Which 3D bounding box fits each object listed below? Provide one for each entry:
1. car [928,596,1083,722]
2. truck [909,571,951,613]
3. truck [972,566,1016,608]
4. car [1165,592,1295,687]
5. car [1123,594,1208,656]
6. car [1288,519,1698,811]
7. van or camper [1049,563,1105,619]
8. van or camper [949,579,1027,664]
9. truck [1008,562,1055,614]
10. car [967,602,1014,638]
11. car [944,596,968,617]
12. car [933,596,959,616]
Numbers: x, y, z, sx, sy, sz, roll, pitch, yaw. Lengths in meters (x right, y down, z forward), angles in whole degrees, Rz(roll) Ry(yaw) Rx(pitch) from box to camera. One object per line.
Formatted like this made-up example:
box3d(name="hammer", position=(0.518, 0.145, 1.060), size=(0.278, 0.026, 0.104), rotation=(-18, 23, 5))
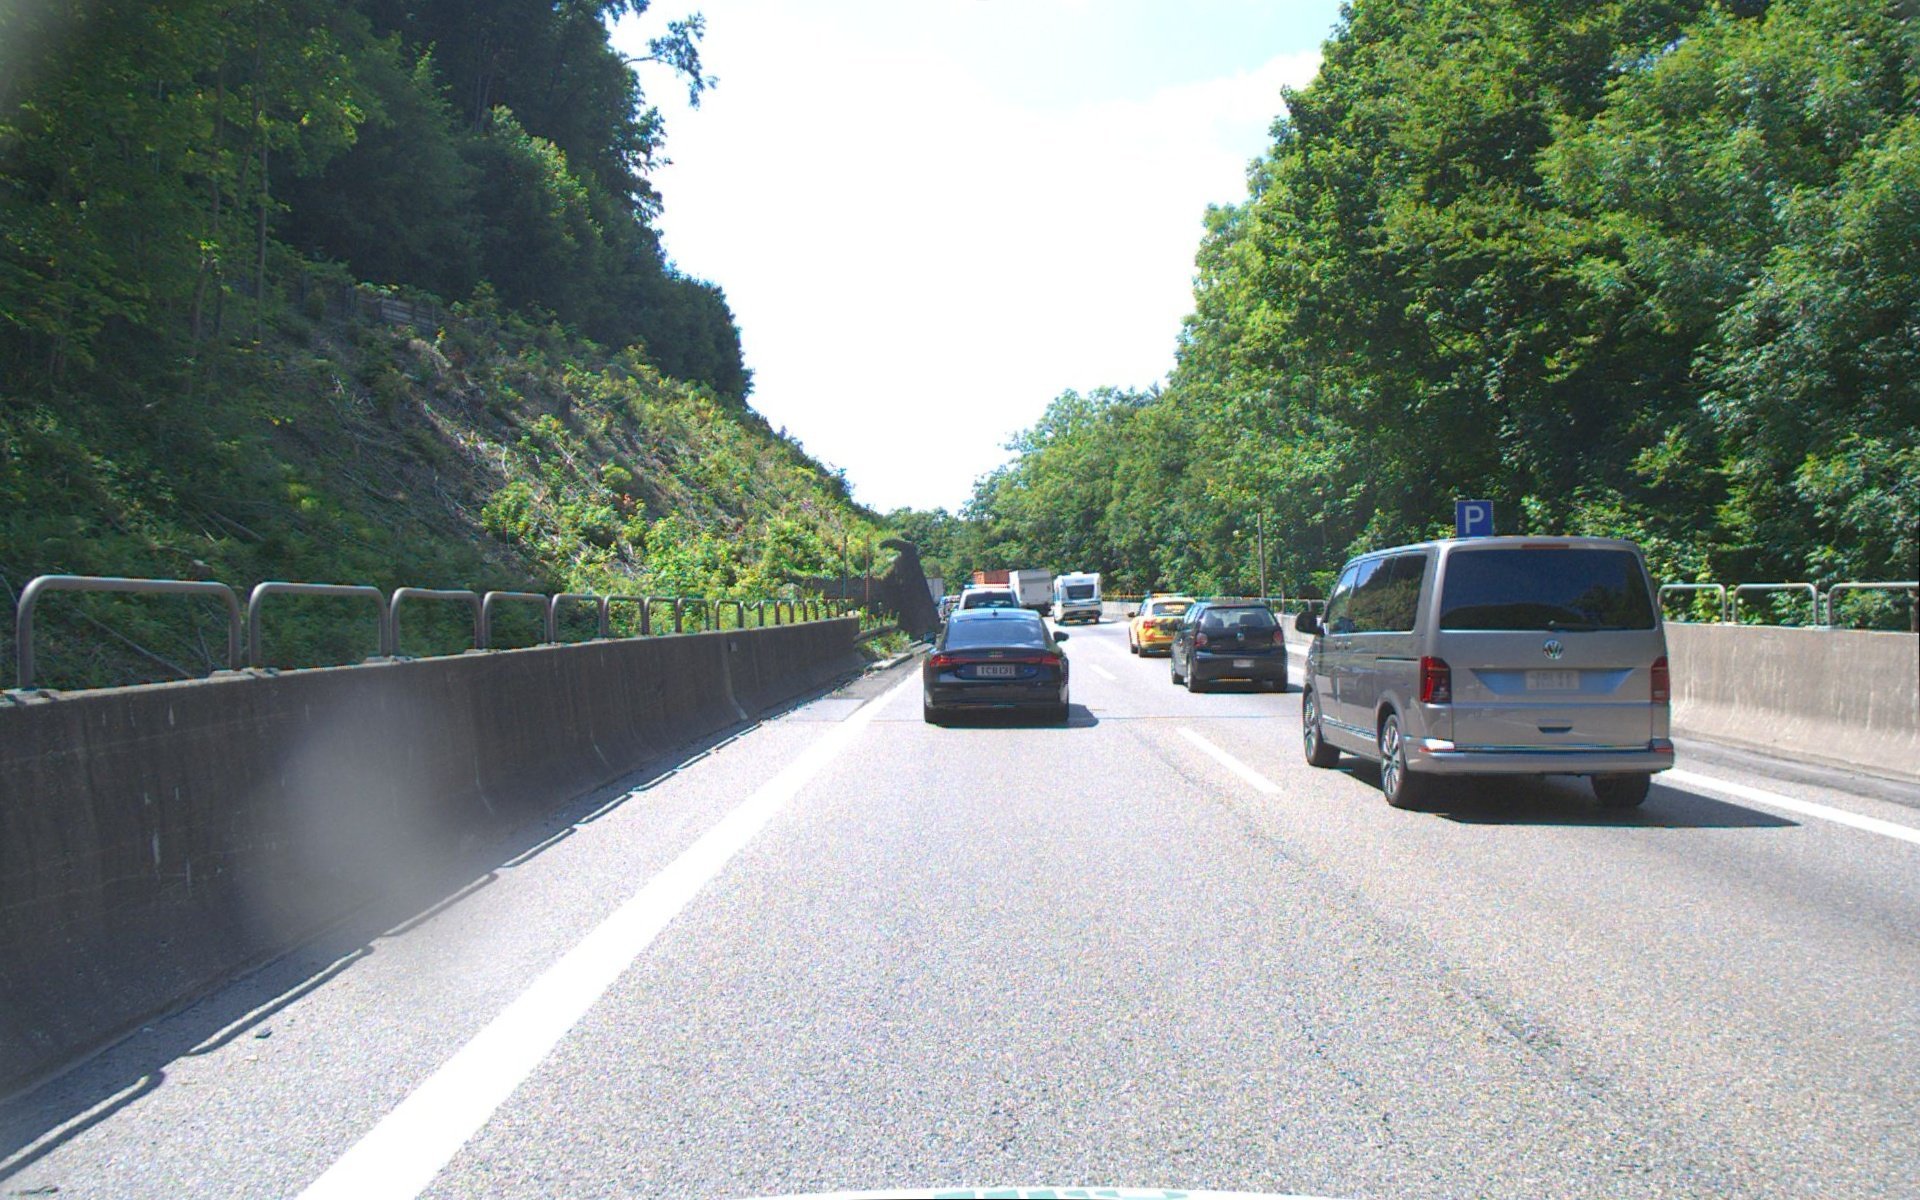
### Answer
box3d(name="car", position=(0.525, 0.726, 22.190), size=(1.866, 1.515, 4.378), rotation=(0, 0, -1))
box3d(name="truck", position=(-3.459, -0.925, 186.616), size=(3.642, 4.583, 7.707), rotation=(1, 0, -9))
box3d(name="truck", position=(2.942, -1.104, 146.154), size=(3.101, 3.529, 8.214), rotation=(1, 0, -4))
box3d(name="car", position=(4.493, 0.634, 28.010), size=(1.650, 1.484, 4.001), rotation=(0, 0, 1))
box3d(name="car", position=(5.197, 0.616, 42.216), size=(1.771, 1.503, 4.082), rotation=(0, 0, 2))
box3d(name="car", position=(4.069, 0.446, 13.522), size=(1.900, 1.965, 4.694), rotation=(0, 0, 1))
box3d(name="van or camper", position=(6.296, -0.455, 89.884), size=(2.550, 2.905, 6.335), rotation=(0, 0, 0))
box3d(name="van or camper", position=(0.738, 0.499, 40.670), size=(1.815, 1.976, 4.166), rotation=(0, 0, 2))
box3d(name="truck", position=(5.380, -0.885, 125.016), size=(2.866, 3.752, 7.720), rotation=(1, 0, -2))
box3d(name="car", position=(1.355, 0.892, 74.796), size=(1.857, 1.612, 3.768), rotation=(0, 0, -3))
box3d(name="car", position=(-0.304, 0.524, 128.550), size=(1.716, 1.598, 3.769), rotation=(0, 0, -3))
box3d(name="car", position=(-1.185, 0.506, 140.600), size=(1.718, 1.598, 3.763), rotation=(0, 0, -9))
